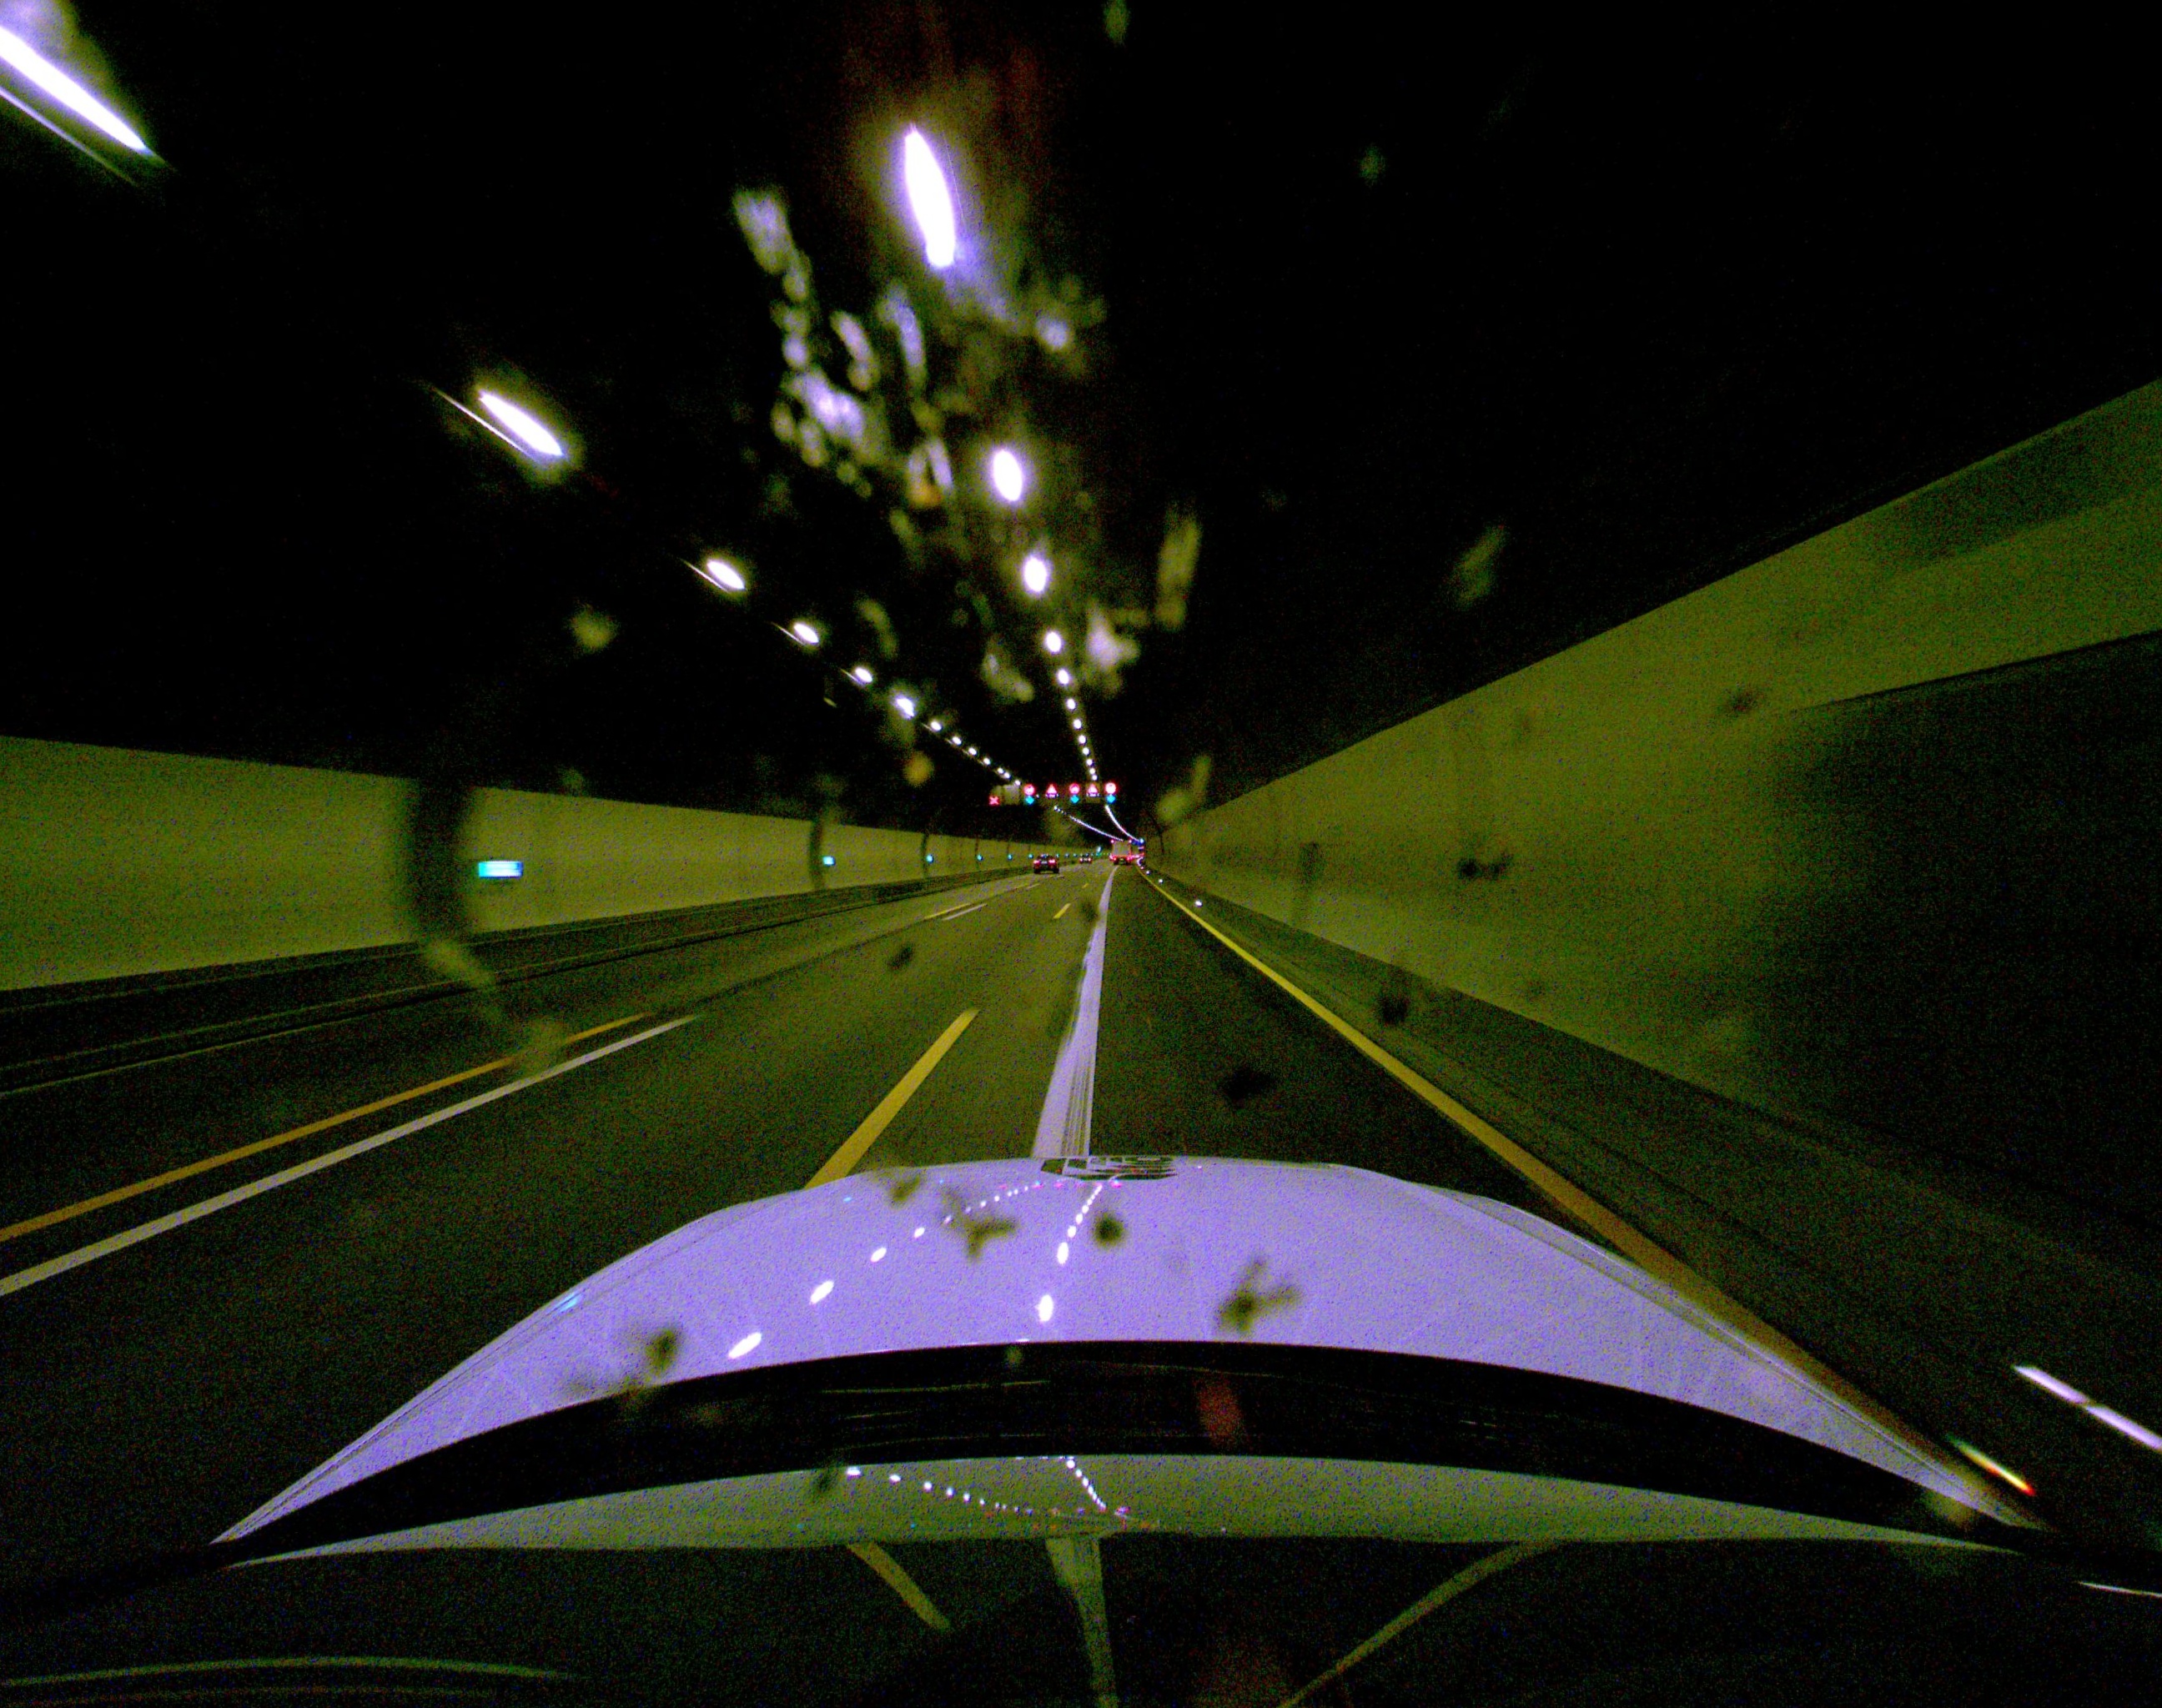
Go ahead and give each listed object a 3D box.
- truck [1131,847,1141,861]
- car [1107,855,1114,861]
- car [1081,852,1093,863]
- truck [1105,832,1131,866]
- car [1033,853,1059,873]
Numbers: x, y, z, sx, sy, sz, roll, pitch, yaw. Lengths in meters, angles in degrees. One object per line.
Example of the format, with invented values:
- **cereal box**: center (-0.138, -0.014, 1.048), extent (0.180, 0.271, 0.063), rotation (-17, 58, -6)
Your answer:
- **truck**: center (16.715, -0.060, 247.425), extent (2.910, 4.048, 14.043), rotation (-2, 0, 4)
- **car**: center (6.851, 0.841, 187.842), extent (1.644, 1.274, 4.002), rotation (-1, 1, 2)
- **car**: center (0.926, 0.568, 125.434), extent (1.806, 1.520, 4.002), rotation (-1, 1, 2)
- **truck**: center (5.369, -0.648, 121.680), extent (3.267, 4.650, 17.288), rotation (-2, 0, 1)
- **car**: center (-2.866, 0.730, 67.403), extent (1.805, 1.618, 4.003), rotation (-1, 0, 3)
